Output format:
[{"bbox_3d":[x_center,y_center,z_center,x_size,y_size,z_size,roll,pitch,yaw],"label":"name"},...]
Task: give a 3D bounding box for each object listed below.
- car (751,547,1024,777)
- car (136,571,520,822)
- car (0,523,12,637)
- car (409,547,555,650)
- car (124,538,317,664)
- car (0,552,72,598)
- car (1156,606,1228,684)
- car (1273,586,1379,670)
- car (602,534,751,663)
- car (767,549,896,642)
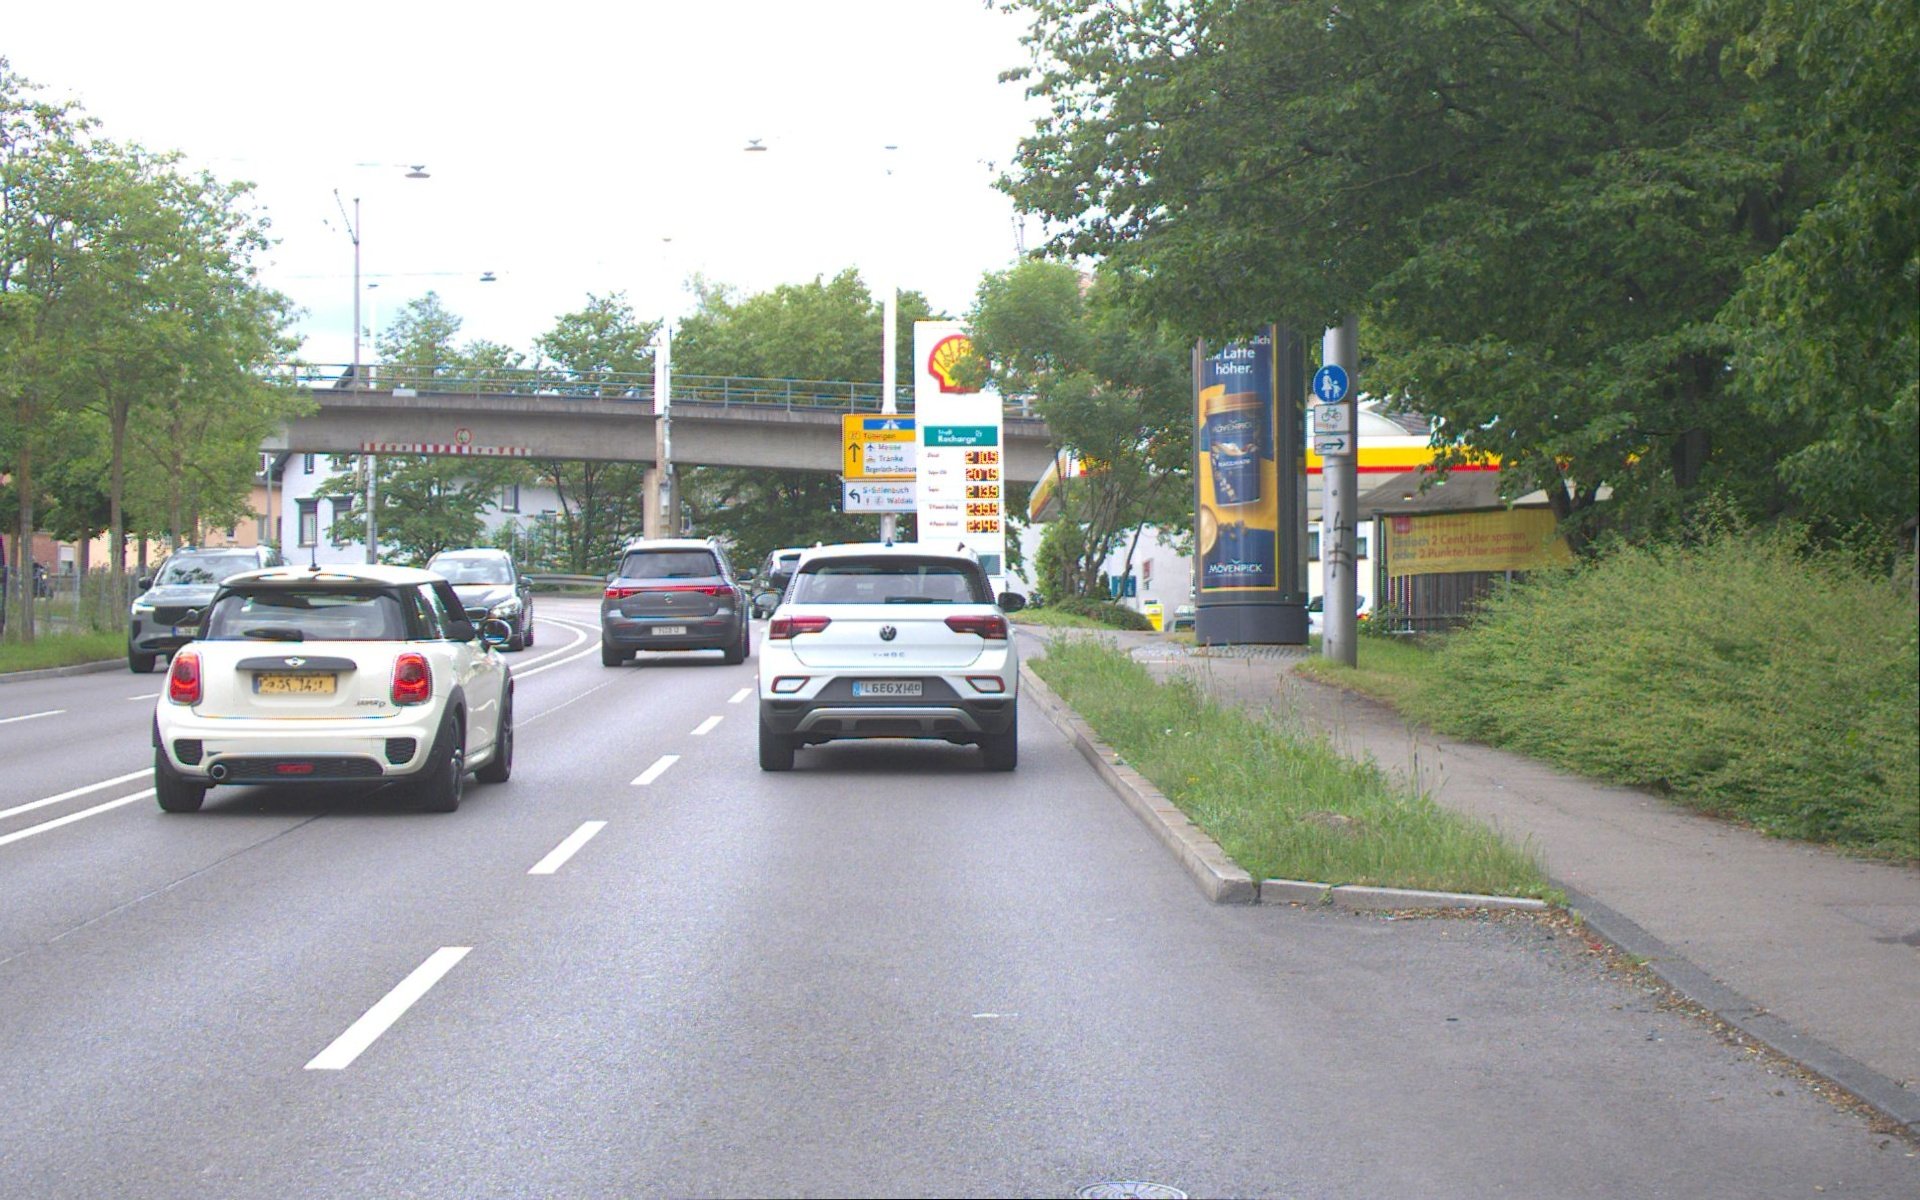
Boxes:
[{"bbox_3d":[-0.498,0.389,24.379,1.797,1.514,3.457,0,1,-1],"label":"car"},{"bbox_3d":[-3.727,0.520,20.790,1.722,1.371,3.457,0,1,-1],"label":"car"},{"bbox_3d":[-20.828,-0.405,70.759,2.267,2.265,6.329,-1,1,-13],"label":"car"},{"bbox_3d":[-7.595,-0.056,54.949,1.764,1.587,4.366,0,1,-1],"label":"car"},{"bbox_3d":[-10.480,-0.017,49.050,1.764,1.703,4.870,0,1,-1],"label":"car"},{"bbox_3d":[-33.212,-0.888,122.934,1.785,1.570,4.468,-2,1,-28],"label":"car"},{"bbox_3d":[6.461,1.282,96.145,1.735,2.004,4.712,-1,-3,1],"label":"car"},{"bbox_3d":[7.197,0.574,67.924,1.735,1.481,3.877,-1,-3,1],"label":"car"},{"bbox_3d":[-3.720,-0.038,45.540,1.722,1.634,3.457,0,1,-1],"label":"car"},{"bbox_3d":[-2.042,-0.094,53.771,1.675,1.404,3.457,0,1,-8],"label":"car"}]
